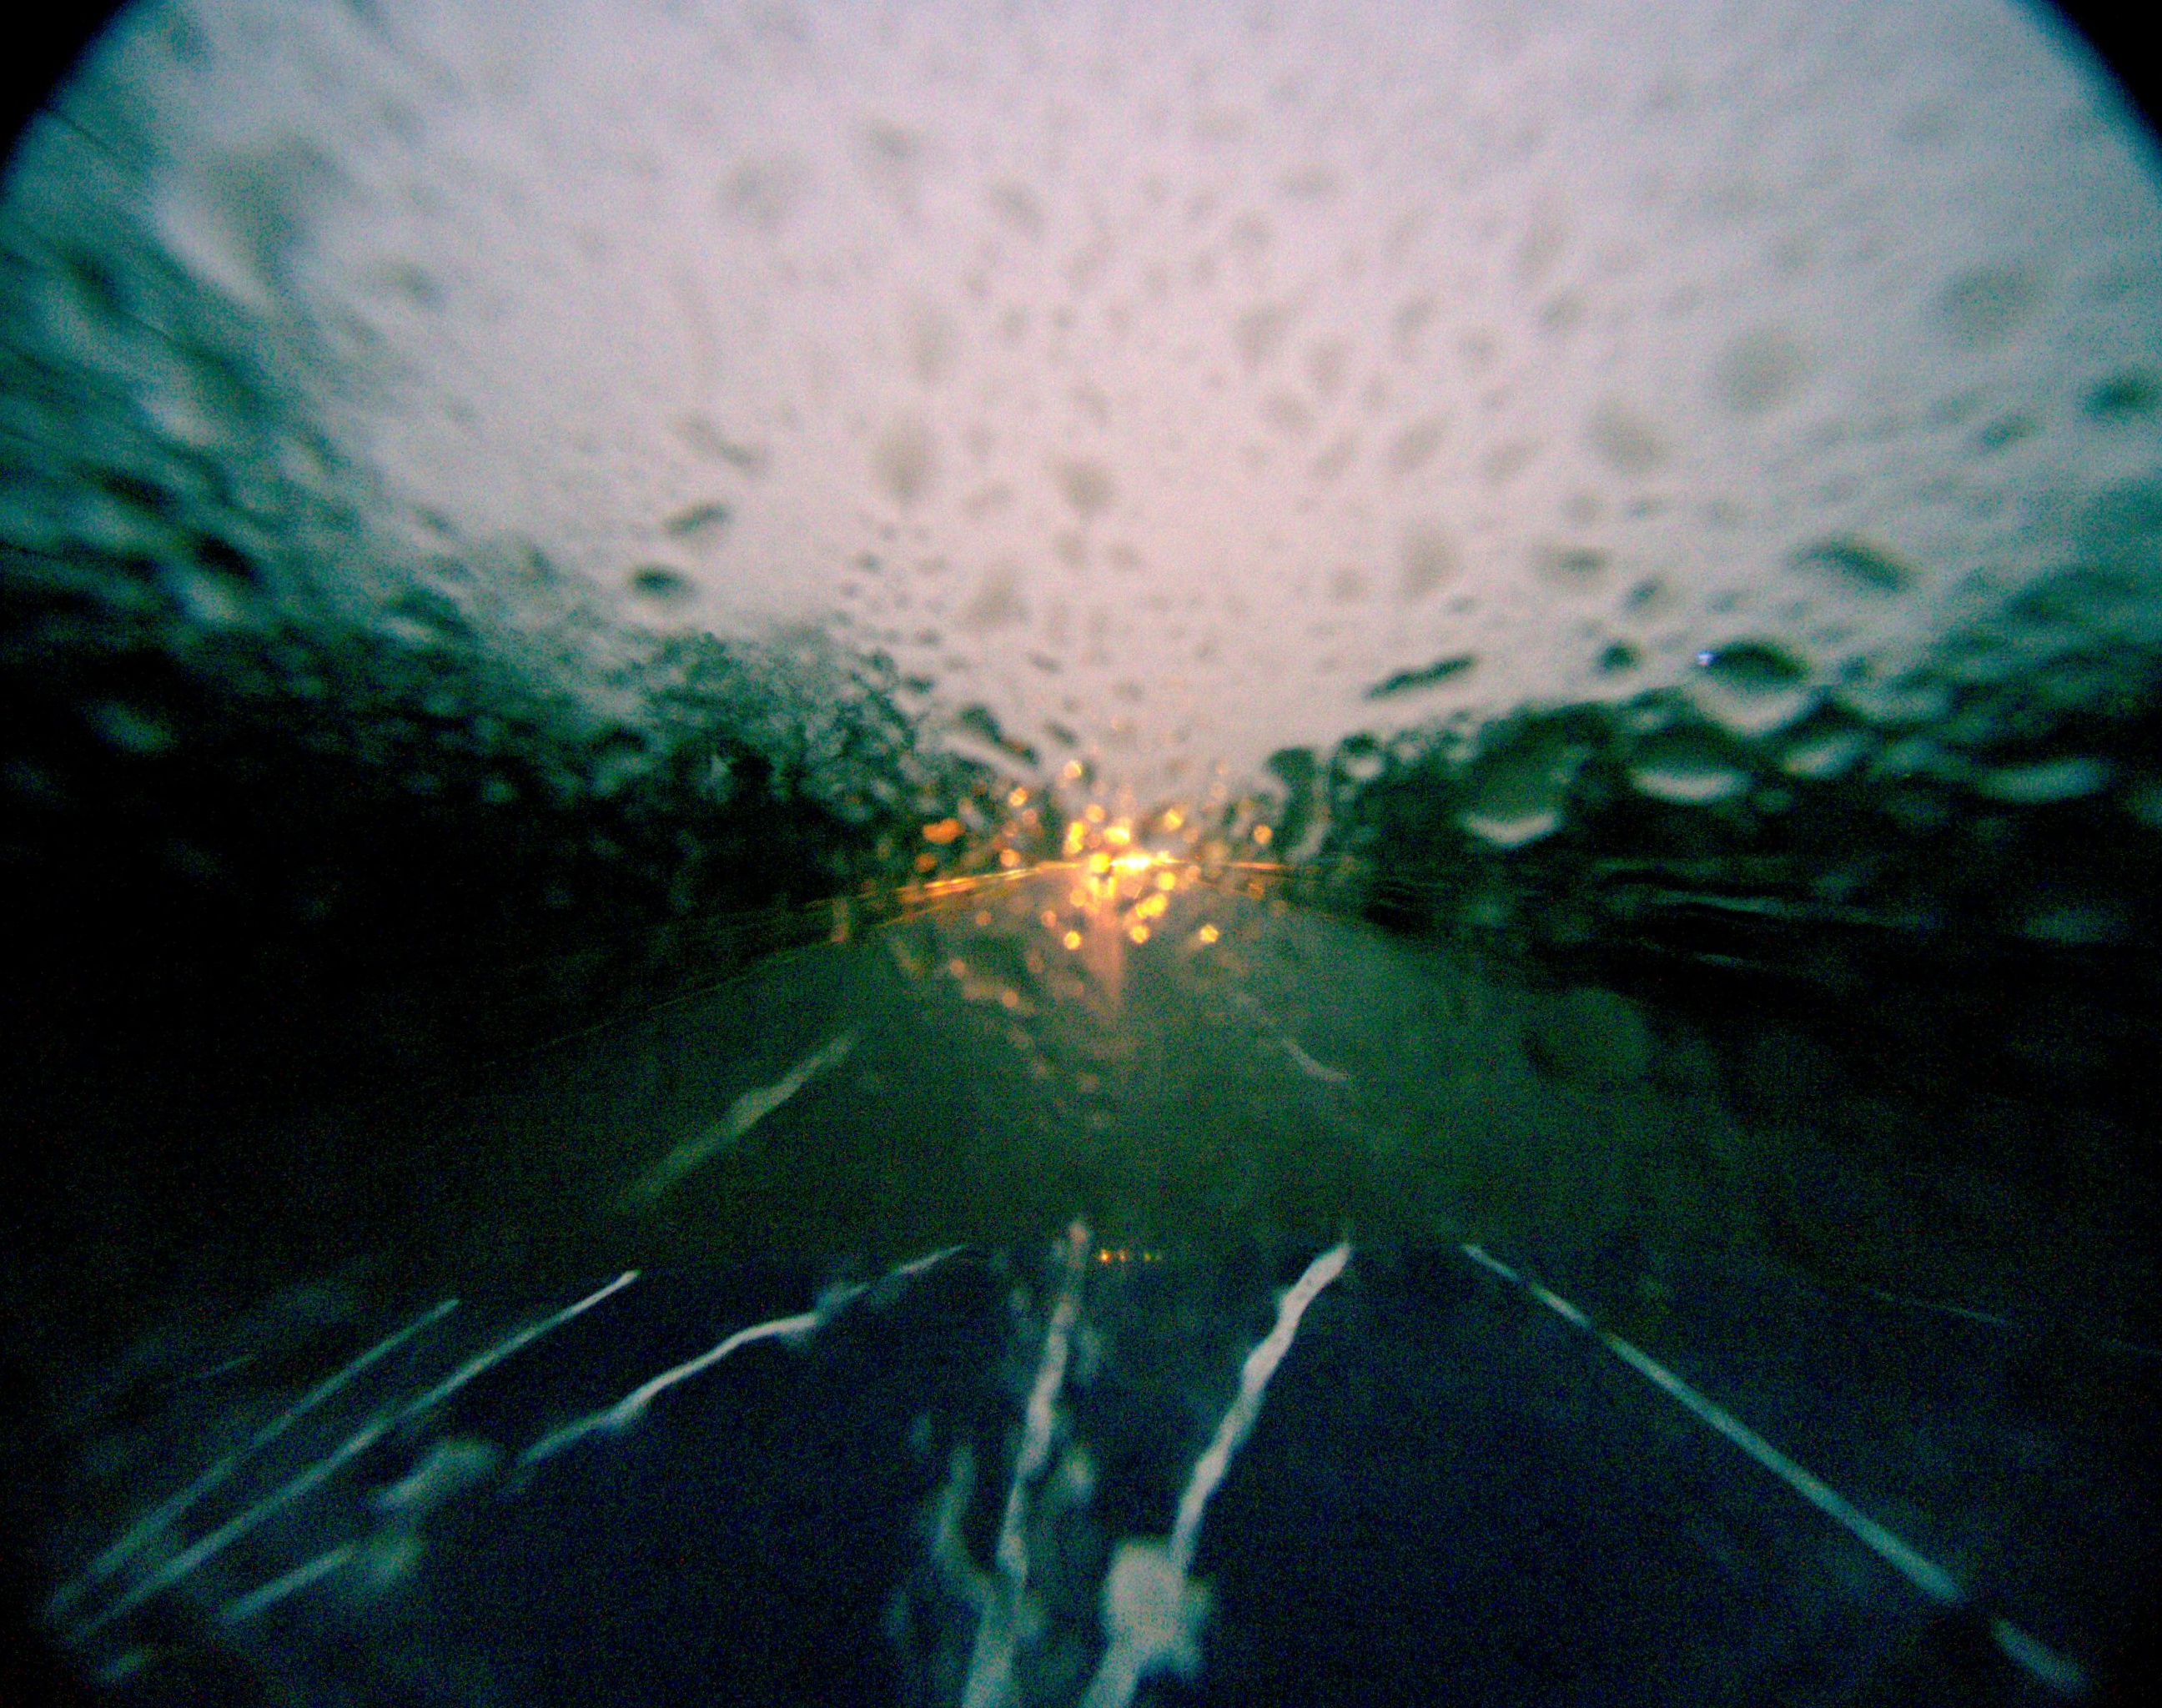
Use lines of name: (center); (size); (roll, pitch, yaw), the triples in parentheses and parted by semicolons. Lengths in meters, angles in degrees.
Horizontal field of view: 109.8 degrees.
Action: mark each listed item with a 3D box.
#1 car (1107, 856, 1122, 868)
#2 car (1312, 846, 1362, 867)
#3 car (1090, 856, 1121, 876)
car: (4.499, 1.062, 102.419); (1.841, 1.553, 3.869); (-4, 0, 4)
car: (23.851, 0.235, 71.012); (1.855, 1.675, 3.991); (-4, 0, -35)
car: (2.110, 0.985, 63.119); (1.951, 1.511, 4.791); (-2, 0, 9)
